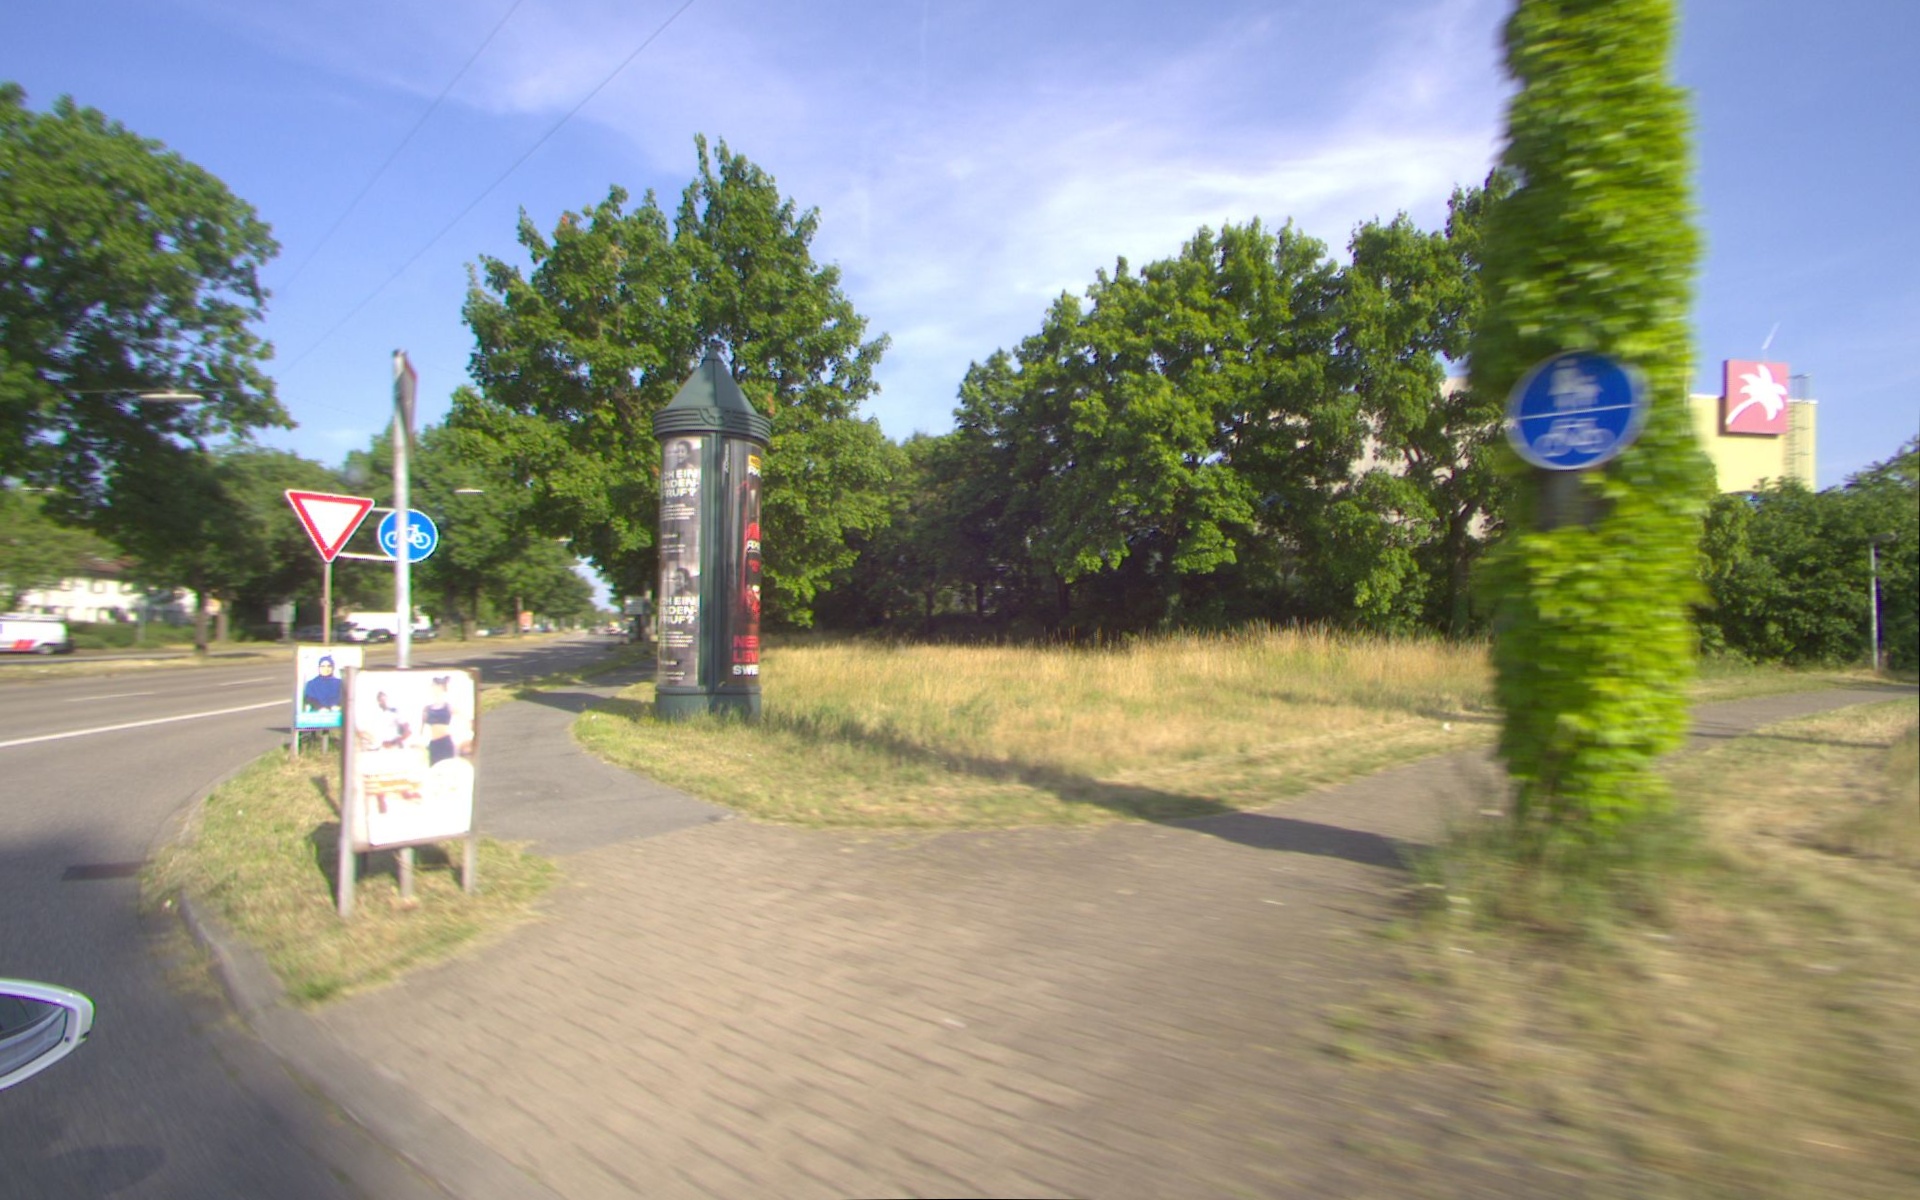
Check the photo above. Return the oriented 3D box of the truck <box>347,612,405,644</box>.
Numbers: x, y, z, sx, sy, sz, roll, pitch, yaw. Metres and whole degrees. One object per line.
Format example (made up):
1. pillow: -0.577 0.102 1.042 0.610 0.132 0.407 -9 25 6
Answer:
1. truck: -65.991 3.158 113.298 1.968 3.509 5.487 0 -2 27

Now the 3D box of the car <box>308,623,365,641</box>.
1. car: -63.352 3.280 101.761 1.972 1.745 4.516 -1 -2 33

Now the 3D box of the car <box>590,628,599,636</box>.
1. car: -81.414 7.129 222.849 1.788 1.727 3.990 0 -3 -23

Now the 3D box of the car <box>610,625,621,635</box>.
1. car: -70.301 6.068 204.395 1.968 2.039 3.988 1 -1 -23

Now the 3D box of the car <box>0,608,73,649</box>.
1. car: -52.345 1.566 55.098 1.971 2.260 4.956 0 -1 31

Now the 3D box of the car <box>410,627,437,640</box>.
1. car: -66.604 4.188 124.365 1.882 1.468 4.278 0 -3 -13

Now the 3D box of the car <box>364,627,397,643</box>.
1. car: -52.675 3.189 91.083 1.685 1.371 3.994 1 -2 -16
